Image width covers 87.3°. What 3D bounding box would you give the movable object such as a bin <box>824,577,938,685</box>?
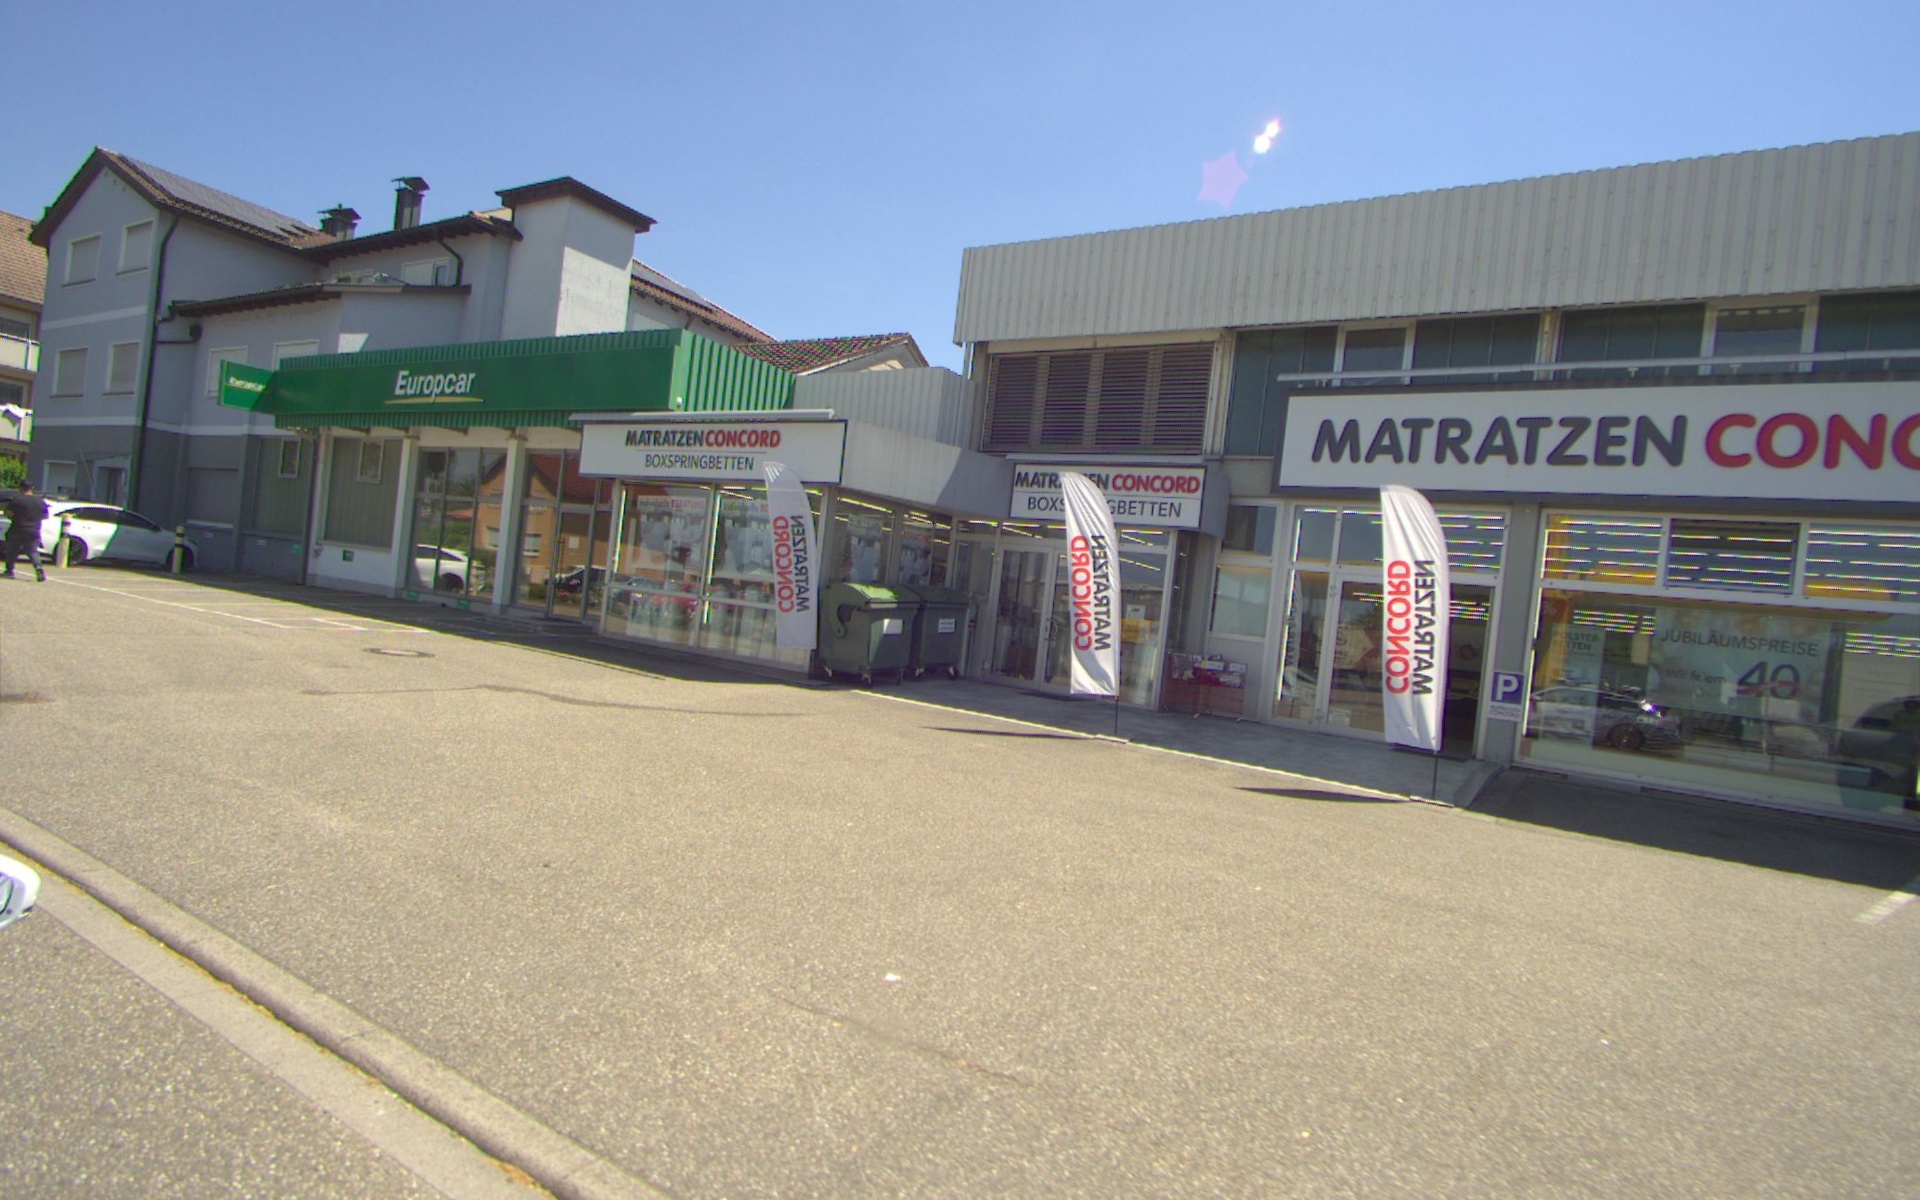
[{"bbox_3d":[-1.125,0.460,14.607,0.691,1.441,1.561,6,2,37],"label":"movable object such as a bin"}]

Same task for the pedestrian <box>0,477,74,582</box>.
[{"bbox_3d":[-15.954,-1.200,17.226,0.994,1.661,0.840,5,0,34],"label":"pedestrian"}]

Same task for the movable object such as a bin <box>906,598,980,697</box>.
[{"bbox_3d":[-0.258,0.741,15.830,0.691,1.464,0.852,5,2,37],"label":"movable object such as a bin"}]

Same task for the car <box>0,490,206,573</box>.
[{"bbox_3d":[-20.059,-1.543,23.026,1.918,1.387,4.362,6,-2,7],"label":"car"}]

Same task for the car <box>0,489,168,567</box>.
[{"bbox_3d":[-22.943,-1.839,25.574,1.767,1.570,3.993,5,0,29],"label":"car"}]
